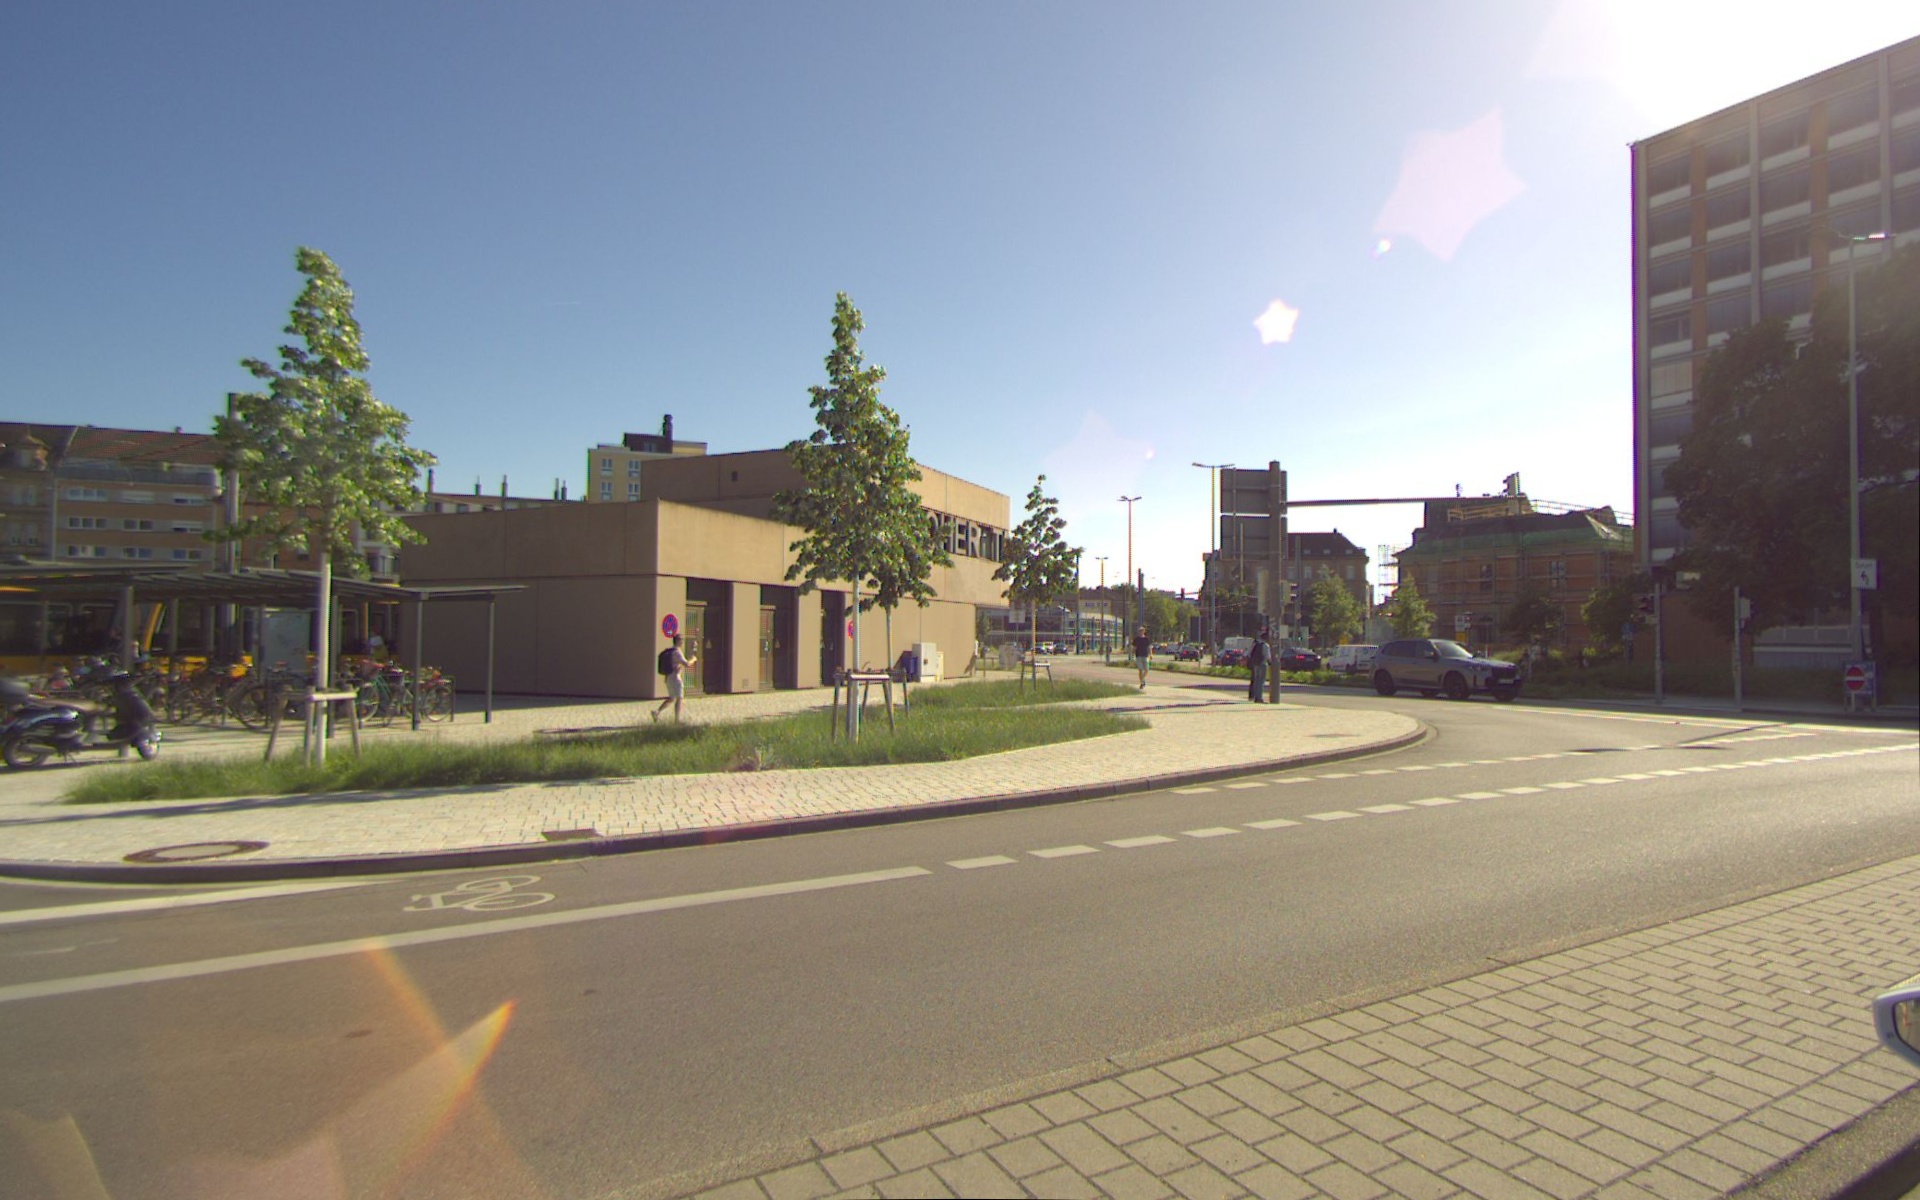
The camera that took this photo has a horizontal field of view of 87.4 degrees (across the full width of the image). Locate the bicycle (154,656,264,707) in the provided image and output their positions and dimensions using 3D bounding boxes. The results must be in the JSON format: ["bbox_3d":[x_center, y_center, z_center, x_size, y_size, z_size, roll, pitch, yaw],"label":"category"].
[{"bbox_3d":[-16.263,1.736,21.809,0.617,1.021,1.829,0,-2,25],"label":"bicycle"}]

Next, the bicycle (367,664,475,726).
[{"bbox_3d":[-9.828,1.712,18.389,0.616,1.021,1.832,0,-2,16],"label":"bicycle"}]

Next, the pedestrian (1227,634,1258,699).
[{"bbox_3d":[7.589,1.785,26.997,0.594,1.719,0.634,1,-2,-7],"label":"pedestrian"}]

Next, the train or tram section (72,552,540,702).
[{"bbox_3d":[-18.768,0.876,30.622,2.702,3.648,12.318,0,-2,25],"label":"train or tram section"}]

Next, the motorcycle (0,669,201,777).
[{"bbox_3d":[-10.926,1.480,12.480,0.599,1.173,2.360,0,-2,25],"label":"motorcycle"}]

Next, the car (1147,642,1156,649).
[{"bbox_3d":[44.259,10.514,232.170,1.960,1.695,4.003,0,-2,14],"label":"car"}]

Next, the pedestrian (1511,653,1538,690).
[{"bbox_3d":[31.578,3.978,56.204,0.985,2.040,0.862,1,-2,-8],"label":"pedestrian"}]

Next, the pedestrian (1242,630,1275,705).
[{"bbox_3d":[7.604,1.704,25.634,0.594,1.880,0.681,1,-2,-7],"label":"pedestrian"}]

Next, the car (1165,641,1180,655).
[{"bbox_3d":[31.296,7.002,147.725,2.024,2.040,4.003,0,-2,14],"label":"car"}]

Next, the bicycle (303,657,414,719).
[{"bbox_3d":[-11.752,1.690,19.693,0.617,1.107,1.829,0,-2,25],"label":"bicycle"}]

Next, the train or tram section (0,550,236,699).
[{"bbox_3d":[-25.031,0.576,24.368,2.779,3.648,12.320,0,-2,24],"label":"train or tram section"}]

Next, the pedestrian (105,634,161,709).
[{"bbox_3d":[-19.165,1.640,23.284,0.593,1.681,0.772,0,-2,23],"label":"pedestrian"}]

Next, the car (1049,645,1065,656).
[{"bbox_3d":[12.763,6.656,132.286,1.960,1.407,4.003,0,-3,3],"label":"car"}]

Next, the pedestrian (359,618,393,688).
[{"bbox_3d":[-16.003,1.439,27.535,0.671,1.880,0.602,1,-2,-19],"label":"pedestrian"}]

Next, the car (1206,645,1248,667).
[{"bbox_3d":[20.052,4.213,75.507,1.962,1.538,3.818,1,-2,-4],"label":"car"}]

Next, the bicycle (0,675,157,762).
[{"bbox_3d":[-12.044,1.560,13.525,0.617,1.021,1.829,0,-2,25],"label":"bicycle"}]

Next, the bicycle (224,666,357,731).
[{"bbox_3d":[-11.621,1.682,17.505,0.492,1.010,1.887,0,-2,31],"label":"bicycle"}]

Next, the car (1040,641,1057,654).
[{"bbox_3d":[12.574,6.757,142.614,1.865,1.728,4.003,0,-2,13],"label":"car"}]

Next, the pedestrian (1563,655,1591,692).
[{"bbox_3d":[34.195,4.053,55.649,0.996,2.040,0.825,1,-2,-6],"label":"pedestrian"}]

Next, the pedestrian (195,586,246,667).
[{"bbox_3d":[-17.512,0.638,23.803,0.738,1.880,0.709,1,-2,-19],"label":"pedestrian"}]

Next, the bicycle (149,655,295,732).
[{"bbox_3d":[-12.894,1.601,17.634,0.496,1.225,2.051,0,-2,26],"label":"bicycle"}]

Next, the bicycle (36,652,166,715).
[{"bbox_3d":[-16.917,1.613,19.834,0.617,1.146,1.828,0,-2,27],"label":"bicycle"}]

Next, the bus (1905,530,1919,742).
[{"bbox_3d":[19.462,0.458,11.762,3.196,3.617,12.428,1,-2,-15],"label":"bus"}]

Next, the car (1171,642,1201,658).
[{"bbox_3d":[23.061,5.098,102.549,2.060,1.602,4.860,0,-2,1],"label":"car"}]

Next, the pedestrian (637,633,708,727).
[{"bbox_3d":[-5.489,1.500,19.203,0.827,1.727,1.019,-1,-2,42],"label":"pedestrian"}]

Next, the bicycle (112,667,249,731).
[{"bbox_3d":[-13.871,1.744,17.942,0.617,1.021,1.828,0,-2,27],"label":"bicycle"}]

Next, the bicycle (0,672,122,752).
[{"bbox_3d":[-13.127,1.559,14.077,0.617,1.021,2.026,0,-2,25],"label":"bicycle"}]

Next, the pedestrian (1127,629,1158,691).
[{"bbox_3d":[5.589,1.815,30.716,0.825,1.869,0.867,0,-2,20],"label":"pedestrian"}]

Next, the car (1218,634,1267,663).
[{"bbox_3d":[26.653,4.568,95.048,2.952,2.580,6.961,0,-2,3],"label":"car"}]

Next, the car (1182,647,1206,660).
[{"bbox_3d":[26.962,6.185,115.795,2.024,1.458,4.059,0,-2,2],"label":"car"}]

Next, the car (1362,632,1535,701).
[{"bbox_3d":[14.476,1.915,30.108,1.973,1.885,4.724,1,-2,-18],"label":"car"}]

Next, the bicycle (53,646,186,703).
[{"bbox_3d":[-15.998,1.394,19.171,0.617,1.021,1.828,0,-2,27],"label":"bicycle"}]

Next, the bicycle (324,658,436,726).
[{"bbox_3d":[-10.748,1.678,18.688,0.616,1.161,1.831,0,-2,18],"label":"bicycle"}]

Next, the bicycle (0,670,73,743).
[{"bbox_3d":[-14.111,1.551,14.518,0.617,1.021,1.829,0,-2,25],"label":"bicycle"}]

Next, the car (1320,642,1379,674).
[{"bbox_3d":[26.104,3.850,67.505,2.031,2.040,5.016,0,-2,0],"label":"car"}]

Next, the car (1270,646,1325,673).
[{"bbox_3d":[20.843,3.640,62.192,1.962,1.538,3.818,1,-2,-4],"label":"car"}]

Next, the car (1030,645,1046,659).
[{"bbox_3d":[10.398,6.882,134.000,1.960,1.814,4.002,0,-2,3],"label":"car"}]

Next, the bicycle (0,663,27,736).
[{"bbox_3d":[-15.278,1.518,15.017,0.617,1.094,1.829,0,-2,25],"label":"bicycle"}]

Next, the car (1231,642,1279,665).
[{"bbox_3d":[20.221,3.659,69.007,1.962,1.538,3.818,1,-2,-4],"label":"car"}]

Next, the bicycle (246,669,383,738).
[{"bbox_3d":[-10.678,1.681,16.688,0.617,1.021,1.828,0,-2,27],"label":"bicycle"}]
